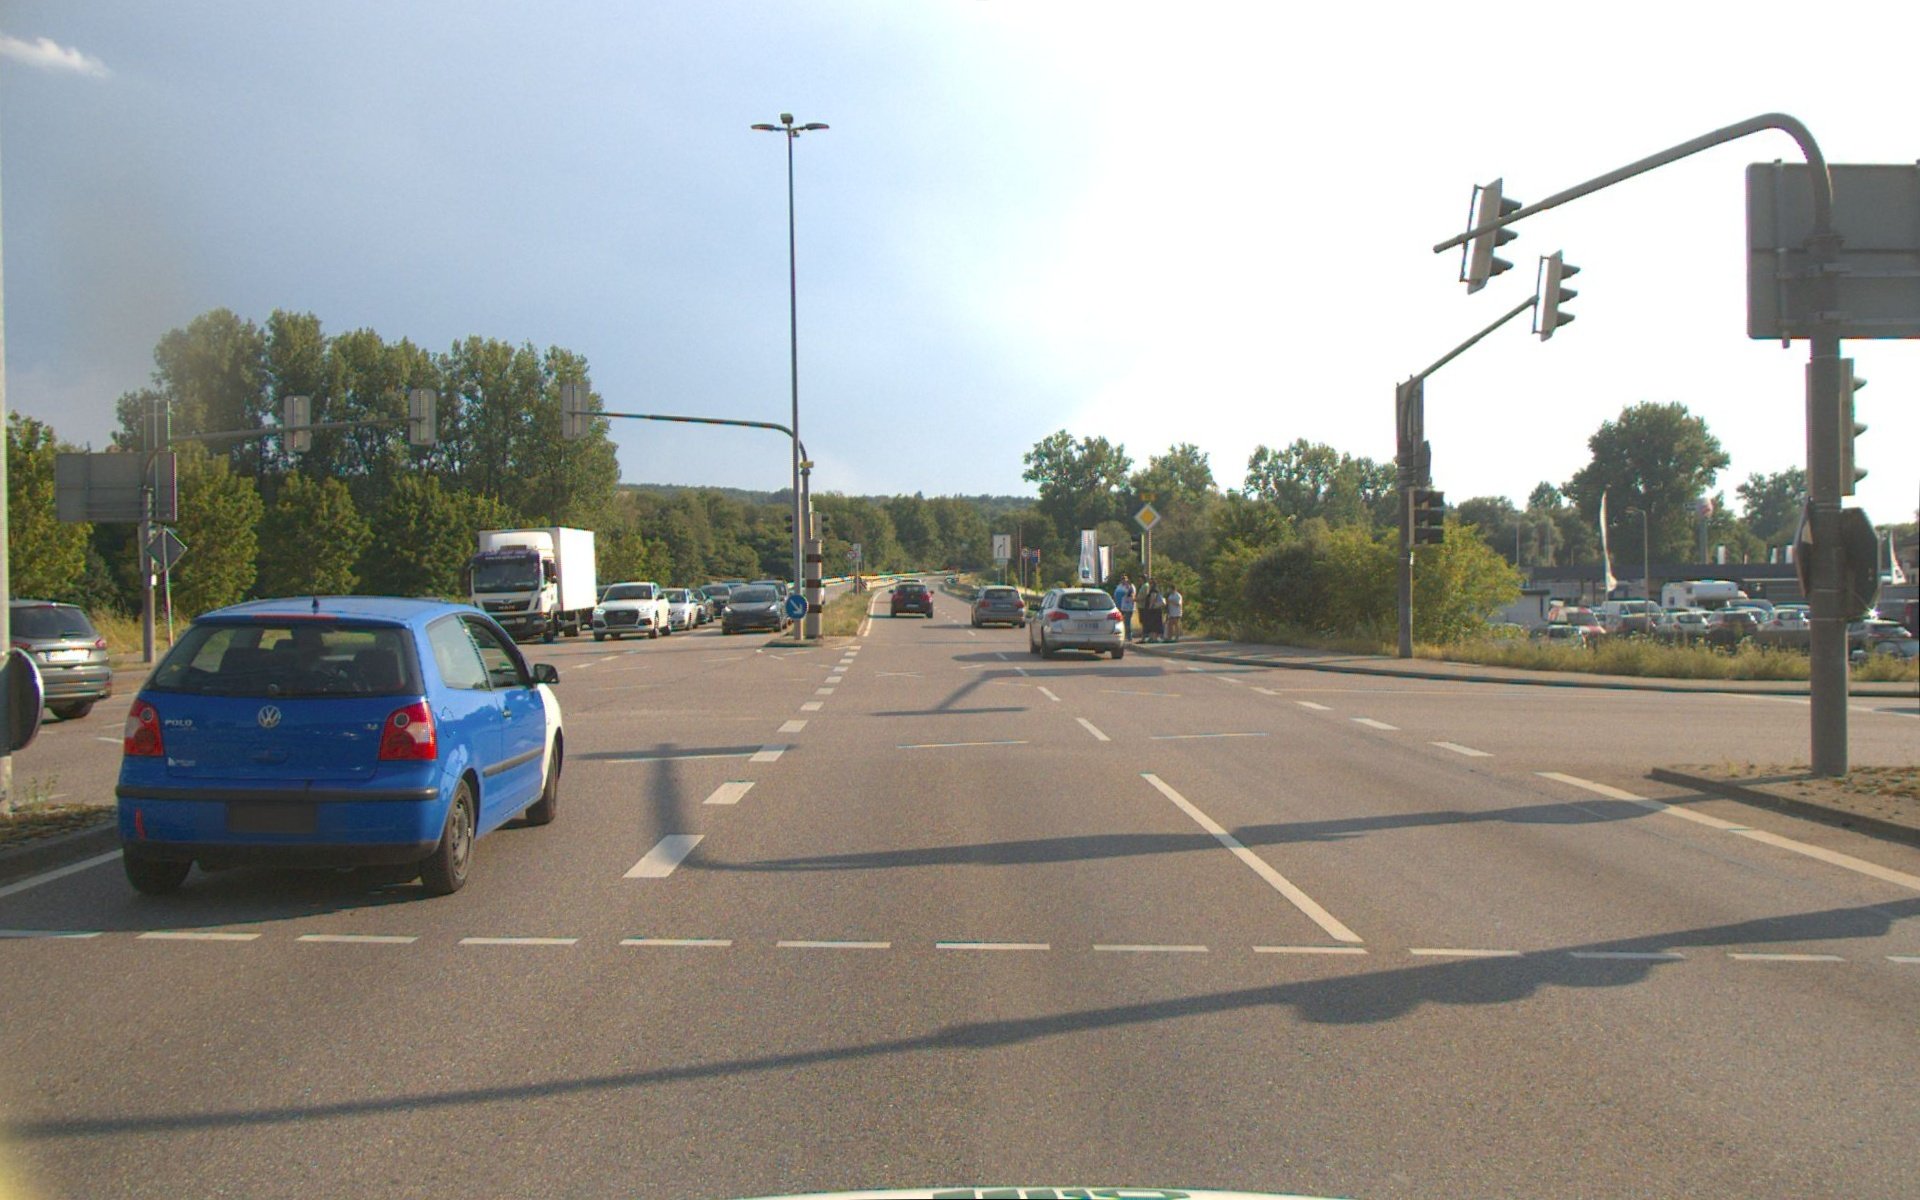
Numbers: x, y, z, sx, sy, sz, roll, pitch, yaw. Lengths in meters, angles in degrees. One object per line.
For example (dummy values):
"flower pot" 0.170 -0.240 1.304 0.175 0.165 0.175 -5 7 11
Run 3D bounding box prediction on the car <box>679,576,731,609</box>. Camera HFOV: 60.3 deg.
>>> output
"car" -11.091 -0.324 72.195 1.745 1.378 3.998 1 0 -2

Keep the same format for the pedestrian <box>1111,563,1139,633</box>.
"pedestrian" 4.564 -0.057 45.788 0.606 1.916 0.861 -1 0 -3

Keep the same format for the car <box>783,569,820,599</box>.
"car" -8.780 -0.883 91.835 1.745 1.546 3.998 -2 0 -2

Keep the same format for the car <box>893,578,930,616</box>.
"car" -1.980 -0.136 68.359 1.462 1.502 3.358 1 0 -1

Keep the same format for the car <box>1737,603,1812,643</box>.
"car" 35.344 0.992 71.823 1.577 1.652 3.348 1 0 0

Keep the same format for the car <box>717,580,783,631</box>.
"car" -6.560 0.159 52.058 1.755 1.492 4.925 -1 0 -4

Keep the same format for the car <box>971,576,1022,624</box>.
"car" 1.242 0.005 57.773 1.633 1.601 3.999 1 0 -1

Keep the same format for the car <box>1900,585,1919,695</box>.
"car" 16.317 0.628 23.866 4.363 1.613 2.000 1 0 2

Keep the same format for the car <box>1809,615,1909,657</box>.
"car" 35.583 1.408 65.540 1.690 1.534 3.998 1 0 -2

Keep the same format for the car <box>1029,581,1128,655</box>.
"car" 2.563 0.377 36.496 1.772 1.512 3.999 1 0 -2

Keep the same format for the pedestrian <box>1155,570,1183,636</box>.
"pedestrian" 5.468 0.076 43.255 0.561 1.707 0.622 1 0 -6

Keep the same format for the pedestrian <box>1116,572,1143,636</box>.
"pedestrian" 4.606 0.101 45.010 0.583 1.712 0.633 -3 0 -3

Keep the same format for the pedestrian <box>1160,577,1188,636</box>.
"pedestrian" 5.491 0.166 42.511 0.561 1.482 0.622 1 0 -6

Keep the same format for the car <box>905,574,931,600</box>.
"car" -2.543 -0.794 100.615 1.462 1.502 3.358 1 0 -1

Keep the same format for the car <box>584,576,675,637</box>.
"car" -9.953 0.182 50.149 1.954 1.707 4.804 -2 0 -3

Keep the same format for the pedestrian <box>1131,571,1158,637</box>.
"pedestrian" 4.817 0.105 43.170 0.561 1.707 0.622 1 0 -6

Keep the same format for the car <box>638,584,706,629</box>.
"car" -9.948 0.221 57.509 1.668 1.430 5.078 -2 0 -3

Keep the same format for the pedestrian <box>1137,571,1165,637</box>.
"pedestrian" 4.893 0.100 42.402 0.561 1.643 0.622 -2 0 -6

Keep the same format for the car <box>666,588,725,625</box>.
"car" -10.250 0.226 64.378 1.668 1.306 4.816 -2 1 -3

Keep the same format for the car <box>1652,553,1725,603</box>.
"car" 39.742 -1.150 90.368 1.719 2.594 5.470 1 0 2

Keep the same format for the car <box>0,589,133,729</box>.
"car" -13.365 0.813 21.758 4.055 1.720 1.927 -2 -1 10

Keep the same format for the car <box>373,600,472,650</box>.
"car" -16.455 0.746 50.821 1.777 1.400 3.999 -3 0 -1

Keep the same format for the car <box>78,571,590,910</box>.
"car" -3.278 0.638 9.478 1.654 1.526 3.890 0 0 -4

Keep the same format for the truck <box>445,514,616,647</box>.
"truck" -13.697 -0.575 53.816 2.873 3.754 10.496 -3 0 -1
